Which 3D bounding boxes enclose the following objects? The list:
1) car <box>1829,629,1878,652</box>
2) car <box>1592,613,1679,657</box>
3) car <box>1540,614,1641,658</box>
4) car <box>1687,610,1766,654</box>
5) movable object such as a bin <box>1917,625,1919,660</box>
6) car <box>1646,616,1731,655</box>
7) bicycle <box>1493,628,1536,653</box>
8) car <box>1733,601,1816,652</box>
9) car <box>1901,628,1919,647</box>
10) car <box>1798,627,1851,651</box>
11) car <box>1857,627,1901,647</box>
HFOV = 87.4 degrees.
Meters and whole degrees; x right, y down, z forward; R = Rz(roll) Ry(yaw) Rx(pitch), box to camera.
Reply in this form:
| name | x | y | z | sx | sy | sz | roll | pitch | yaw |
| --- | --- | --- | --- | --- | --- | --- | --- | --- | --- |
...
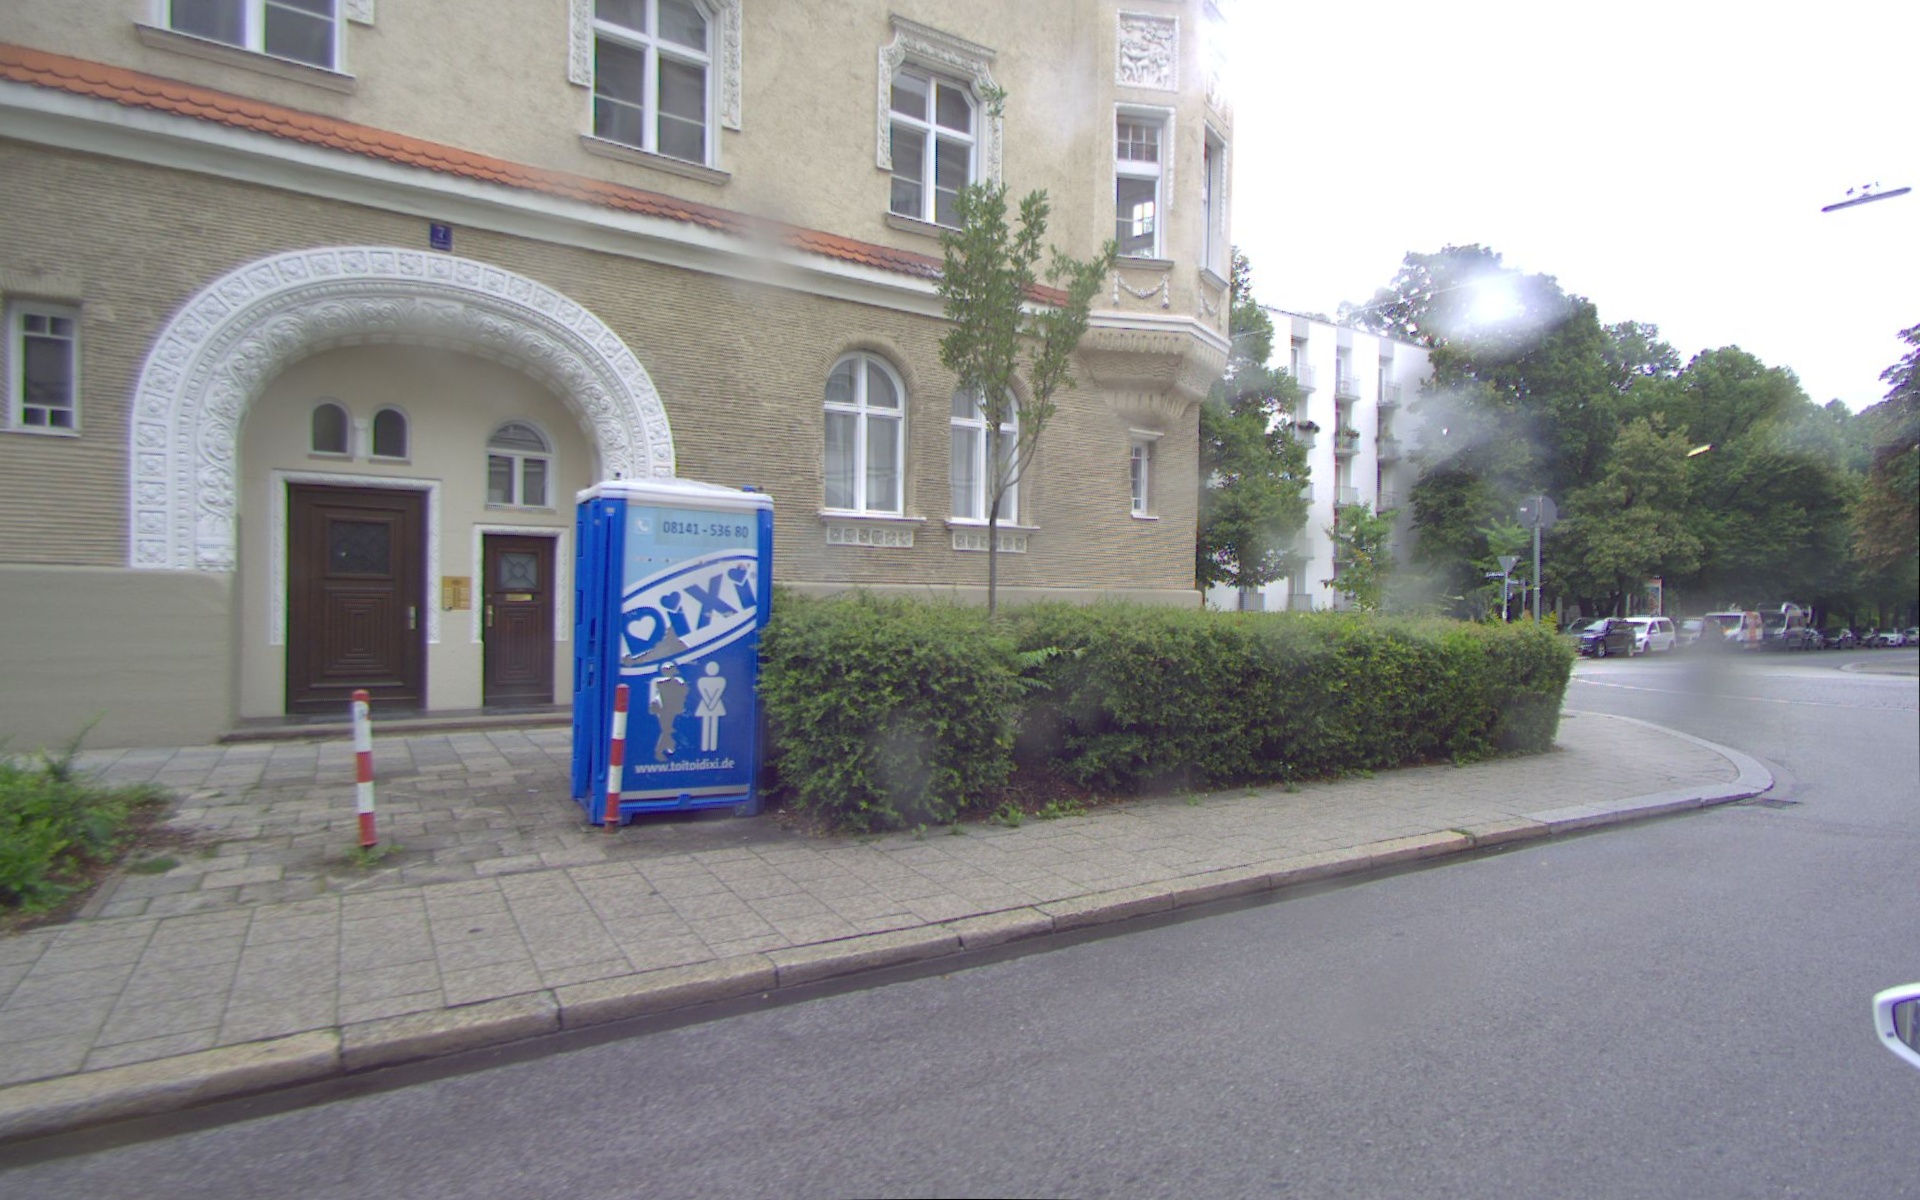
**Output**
| name | x | y | z | sx | sy | sz | roll | pitch | yaw |
| --- | --- | --- | --- | --- | --- | --- | --- | --- | --- |
| car | 65.140 | 2.940 | 73.229 | 4.036 | 1.592 | 1.882 | 2 | -1 | -37 |
| car | 31.777 | 1.641 | 47.186 | 4.822 | 1.920 | 1.912 | 2 | -1 | -37 |
| car | 27.540 | 1.548 | 43.843 | 4.859 | 1.790 | 2.051 | 2 | -1 | -36 |
| car | 42.541 | 1.759 | 55.721 | 5.144 | 2.281 | 2.096 | 2 | -1 | -36 |
| movable object such as a bin | 36.288 | 1.552 | 37.025 | 1.071 | 1.284 | 1.076 | 1 | -3 | -23 |
| car | 37.081 | 1.785 | 51.070 | 4.938 | 1.883 | 2.051 | 2 | -1 | -36 |
| bicycle | 24.733 | 1.797 | 44.787 | 1.951 | 1.065 | 0.905 | 2 | -1 | -35 |
| car | 49.862 | 1.596 | 61.472 | 6.515 | 2.961 | 2.319 | 2 | -1 | -36 |
| car | 86.194 | 3.354 | 90.093 | 4.036 | 1.592 | 1.882 | 2 | -1 | -37 |
| car | 58.493 | 2.621 | 67.934 | 4.036 | 1.558 | 1.882 | 2 | -1 | -37 |
| car | 73.728 | 2.962 | 80.555 | 4.036 | 1.592 | 1.882 | 2 | -1 | -37 |
